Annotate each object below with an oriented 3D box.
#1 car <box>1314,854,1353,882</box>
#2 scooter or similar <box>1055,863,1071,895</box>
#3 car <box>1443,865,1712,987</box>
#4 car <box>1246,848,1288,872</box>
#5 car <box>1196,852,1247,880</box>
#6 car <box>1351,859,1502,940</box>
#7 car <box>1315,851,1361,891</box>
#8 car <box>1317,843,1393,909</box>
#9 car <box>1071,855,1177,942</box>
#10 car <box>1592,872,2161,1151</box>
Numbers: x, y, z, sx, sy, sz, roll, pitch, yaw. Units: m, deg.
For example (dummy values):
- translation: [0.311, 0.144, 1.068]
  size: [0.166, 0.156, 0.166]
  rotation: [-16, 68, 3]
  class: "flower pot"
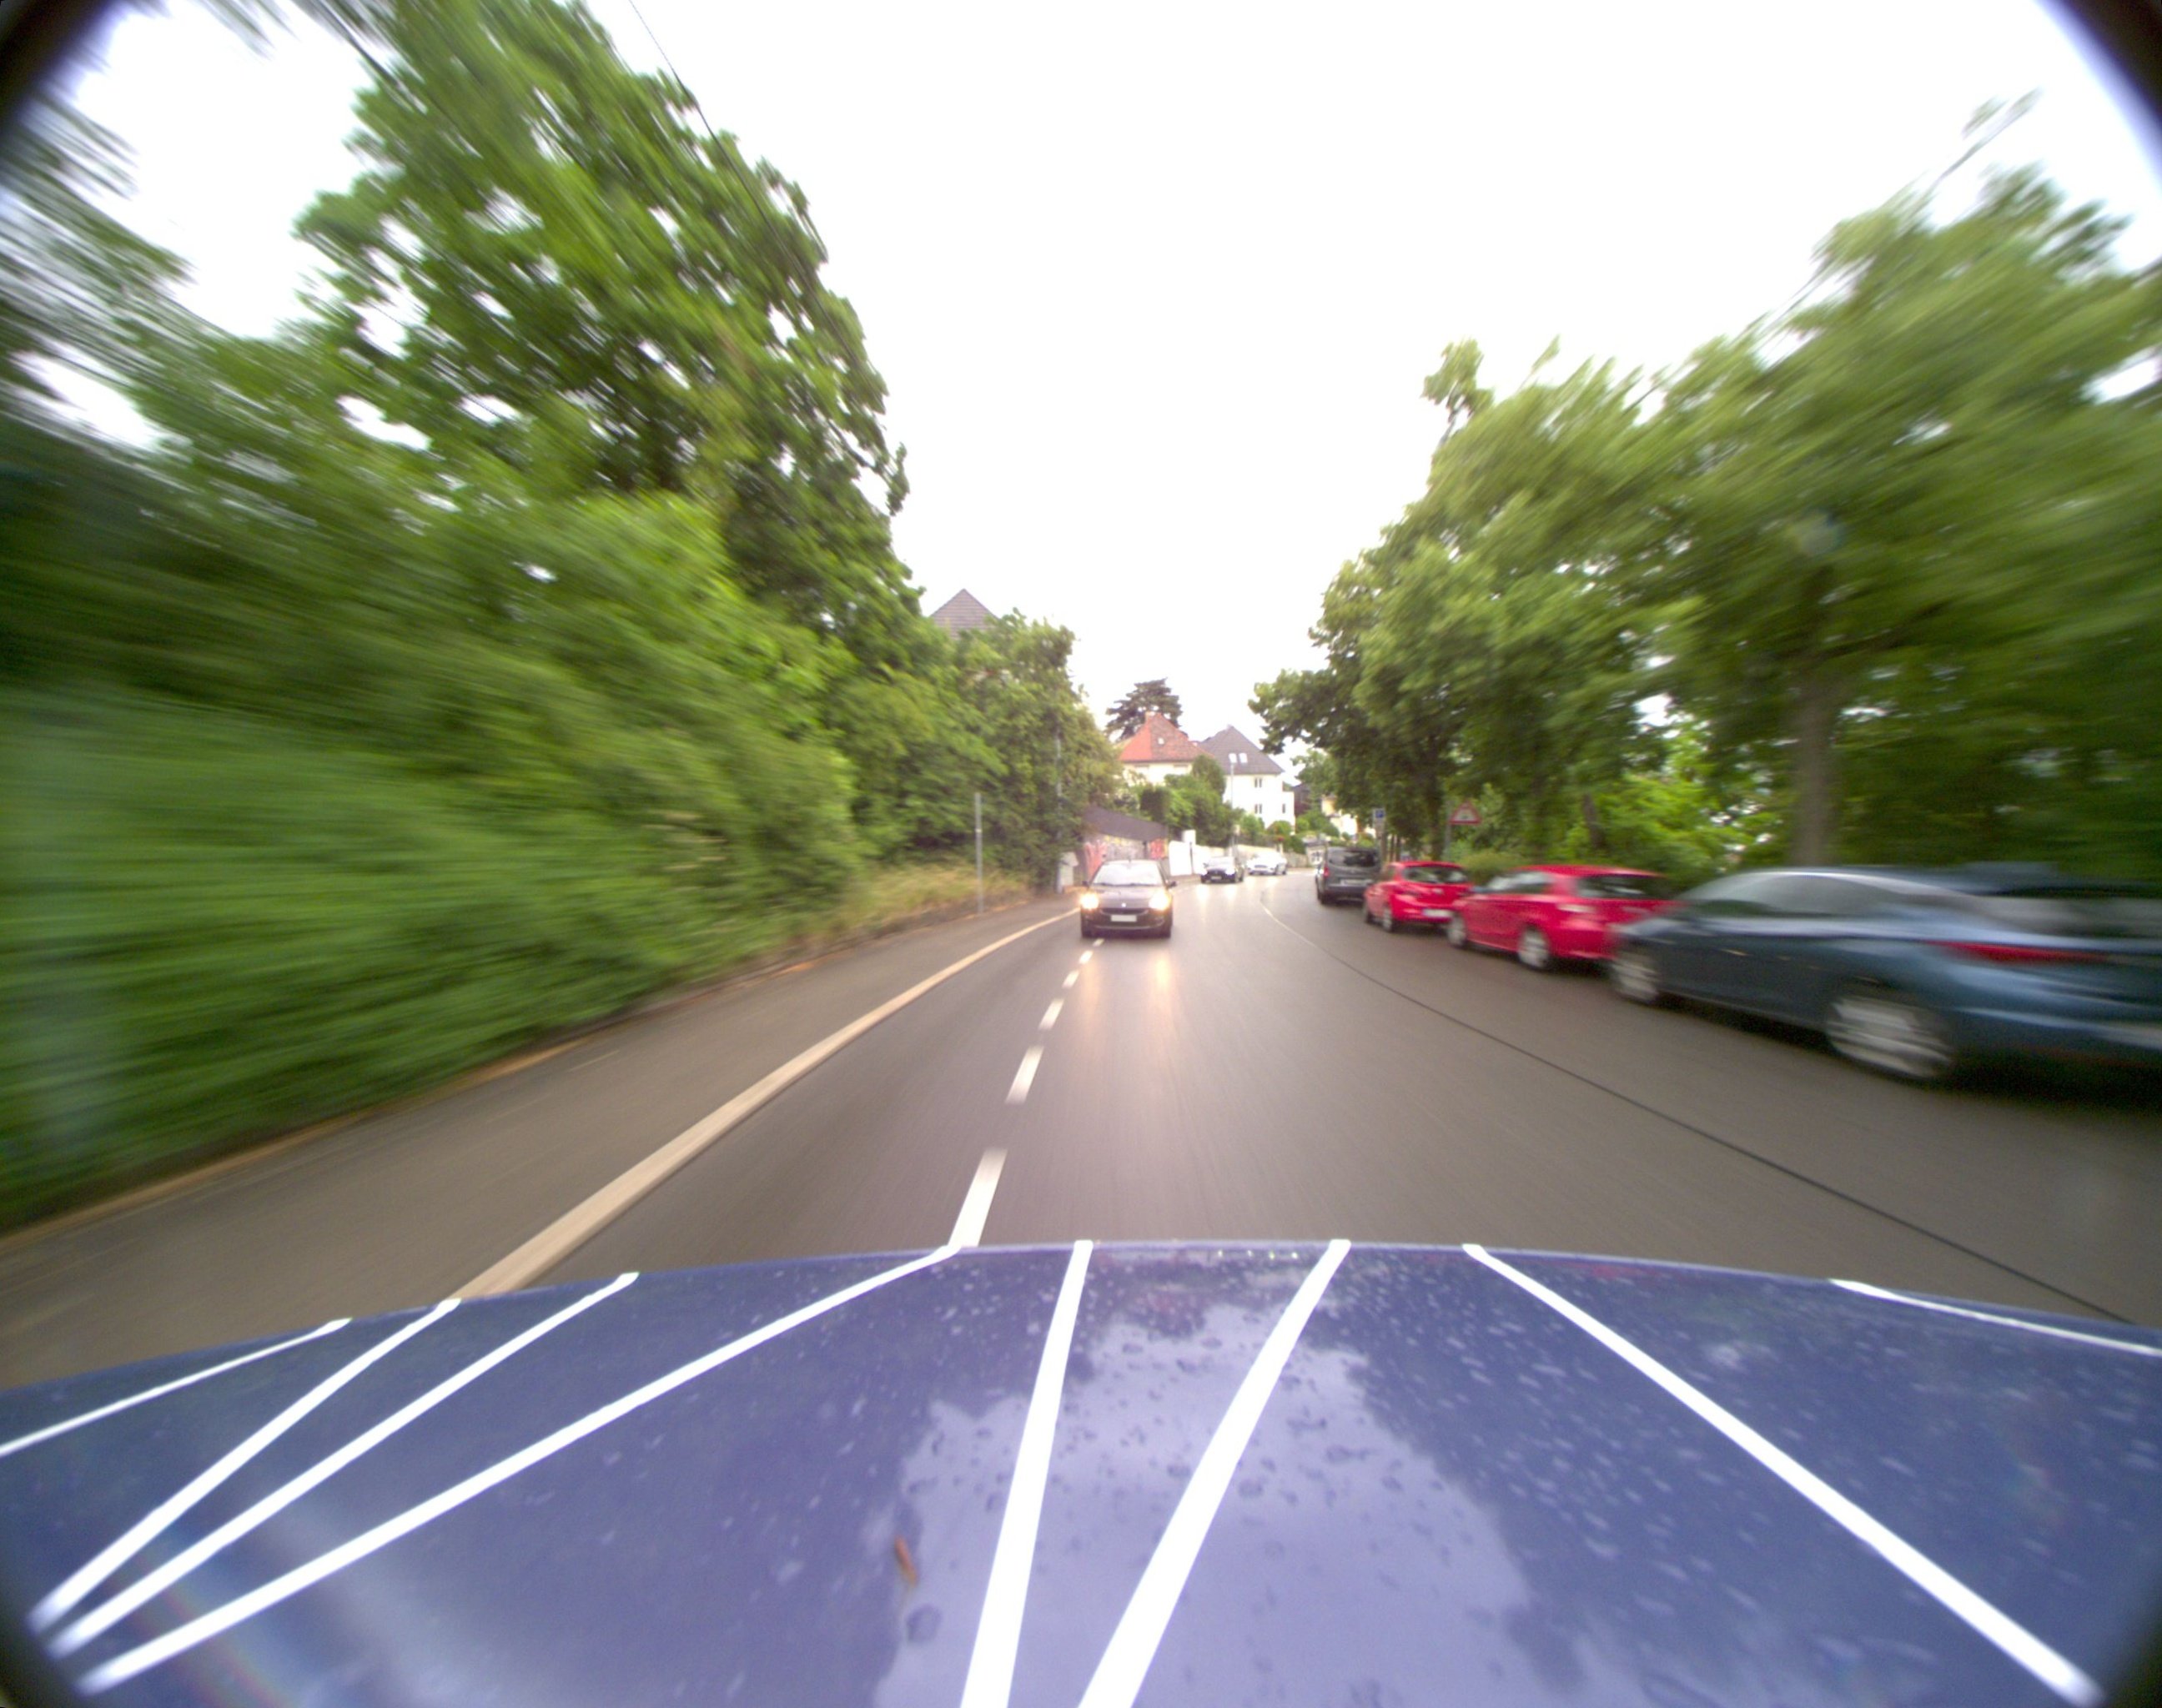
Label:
- translation: [14.358, 0.743, 43.113]
  size: [1.684, 1.372, 4.508]
  rotation: [4, 2, 22]
  class: "car"
- translation: [-0.680, 0.916, 28.702]
  size: [0.346, 1.111, 1.423]
  rotation: [4, 2, 5]
  class: "scooter or similar"
- translation: [7.063, 0.925, 11.323]
  size: [1.958, 1.400, 3.546]
  rotation: [2, 0, 7]
  class: "car"
- translation: [13.509, 0.412, 54.933]
  size: [2.027, 1.619, 4.235]
  rotation: [0, 0, 27]
  class: "car"
- translation: [7.654, 0.615, 41.190]
  size: [2.027, 1.454, 4.006]
  rotation: [0, 0, 21]
  class: "car"
- translation: [7.428, 0.882, 16.859]
  size: [1.957, 1.453, 4.579]
  rotation: [2, 0, 10]
  class: "car"
- translation: [11.643, 0.736, 34.639]
  size: [1.685, 1.544, 3.770]
  rotation: [4, 2, 16]
  class: "car"
- translation: [9.336, 0.711, 26.240]
  size: [1.956, 1.956, 5.008]
  rotation: [3, 0, 15]
  class: "car"
- translation: [0.947, 0.786, 15.507]
  size: [1.803, 1.418, 4.384]
  rotation: [-2, 0, 5]
  class: "car"
- translation: [6.386, 0.929, 6.188]
  size: [1.958, 1.400, 4.210]
  rotation: [2, 0, 7]
  class: "car"
